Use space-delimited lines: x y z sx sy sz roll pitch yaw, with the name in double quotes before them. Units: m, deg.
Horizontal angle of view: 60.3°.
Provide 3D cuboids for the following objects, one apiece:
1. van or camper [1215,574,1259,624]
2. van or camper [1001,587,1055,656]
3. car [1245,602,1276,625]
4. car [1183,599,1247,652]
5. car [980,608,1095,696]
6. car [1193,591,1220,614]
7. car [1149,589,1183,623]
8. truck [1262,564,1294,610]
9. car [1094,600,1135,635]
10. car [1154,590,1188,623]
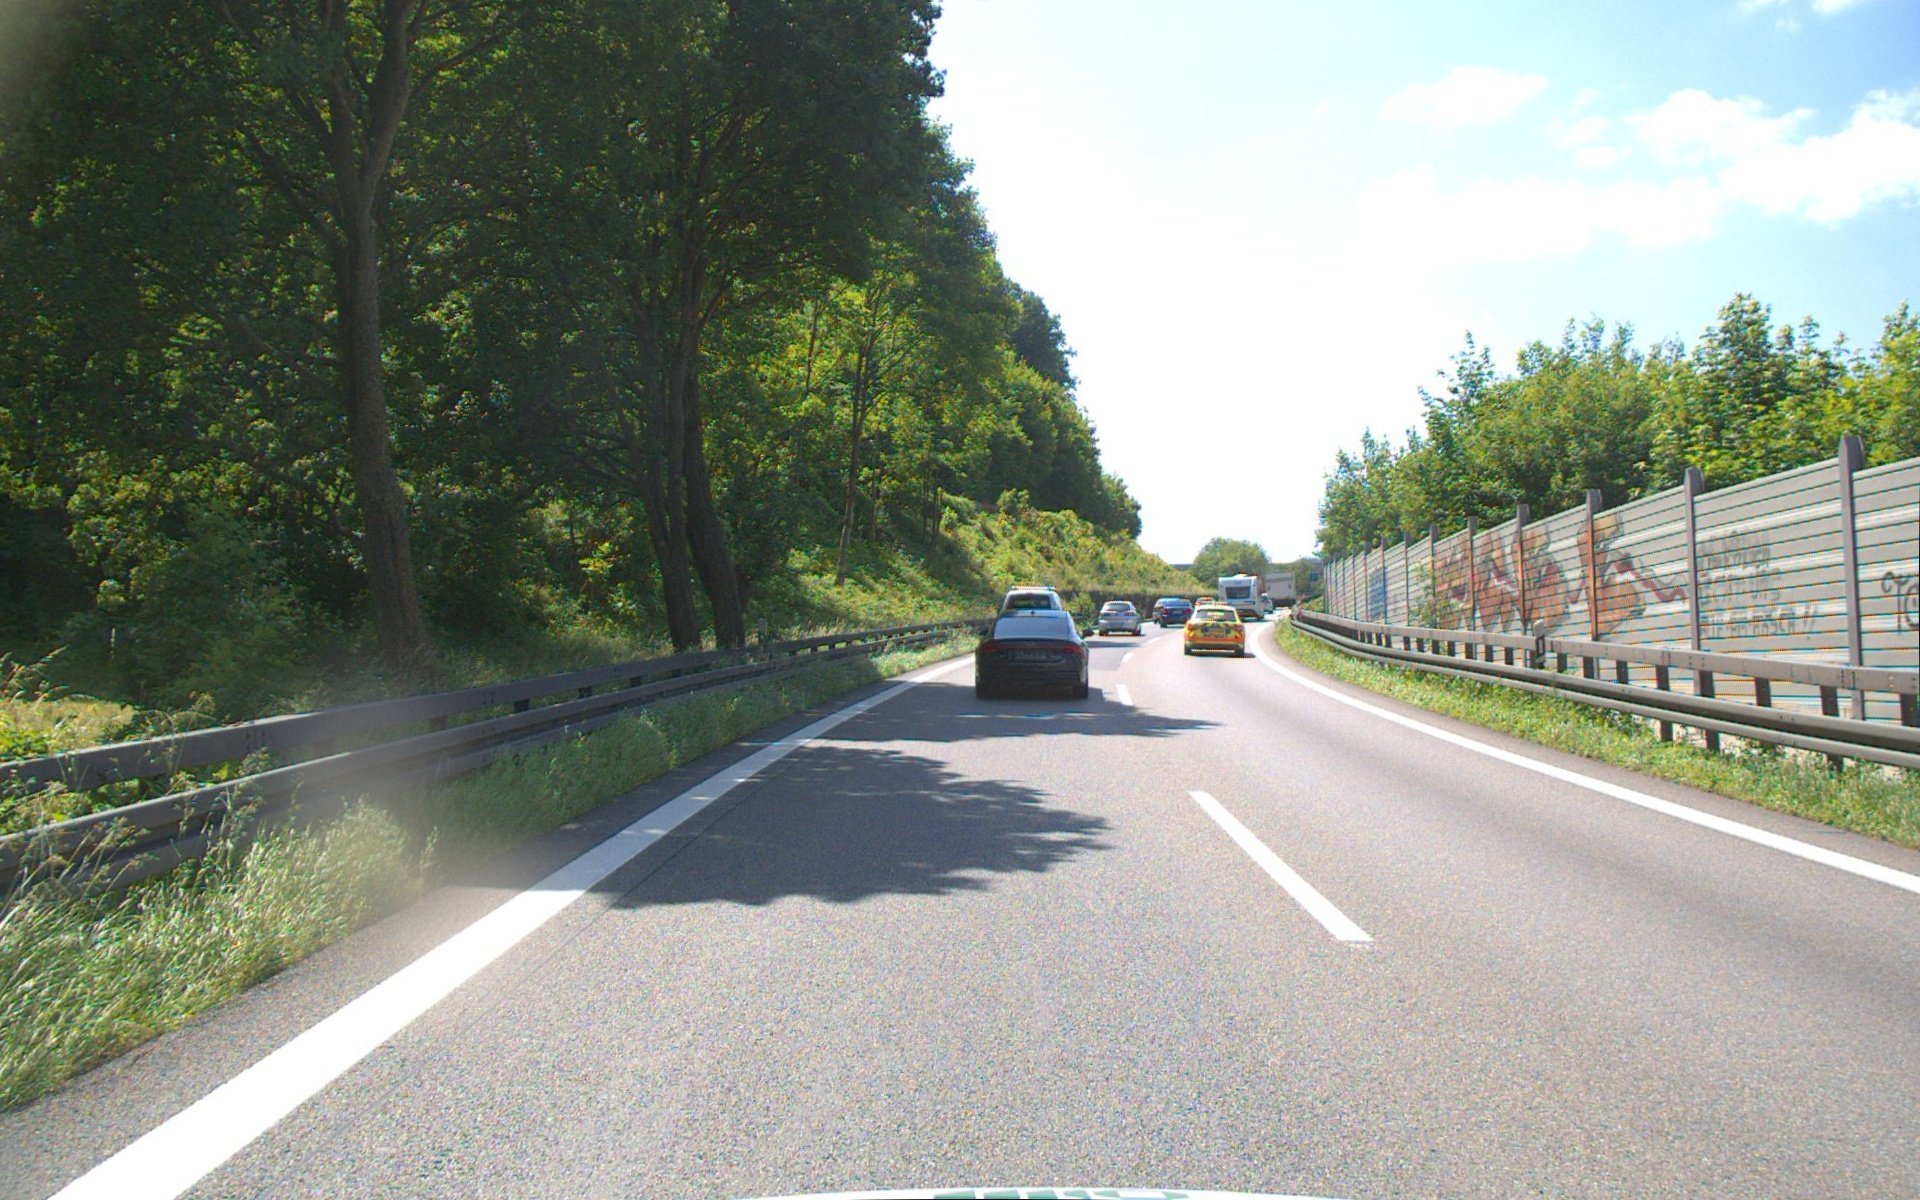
"van or camper" 16.754 -0.013 99.792 2.403 2.969 6.131 0 -1 11
"van or camper" 1.933 0.603 46.103 1.362 1.848 4.002 0 -1 4
"car" 23.363 1.038 128.341 1.951 1.747 4.002 -1 0 16
"car" 7.634 0.773 49.498 1.823 1.514 4.003 0 -1 9
"car" 1.322 0.851 27.947 1.799 1.373 4.001 0 -1 3
"car" 19.658 0.175 131.696 1.802 1.747 4.003 -1 0 12
"car" 12.633 0.347 101.081 1.951 2.049 4.003 0 0 9
"truck" 29.913 -1.198 155.391 2.674 4.168 7.486 -1 0 12
"car" 6.608 0.760 70.675 1.710 1.456 4.002 0 -1 5
"car" 11.100 0.356 86.971 1.735 1.665 4.003 0 -1 7
